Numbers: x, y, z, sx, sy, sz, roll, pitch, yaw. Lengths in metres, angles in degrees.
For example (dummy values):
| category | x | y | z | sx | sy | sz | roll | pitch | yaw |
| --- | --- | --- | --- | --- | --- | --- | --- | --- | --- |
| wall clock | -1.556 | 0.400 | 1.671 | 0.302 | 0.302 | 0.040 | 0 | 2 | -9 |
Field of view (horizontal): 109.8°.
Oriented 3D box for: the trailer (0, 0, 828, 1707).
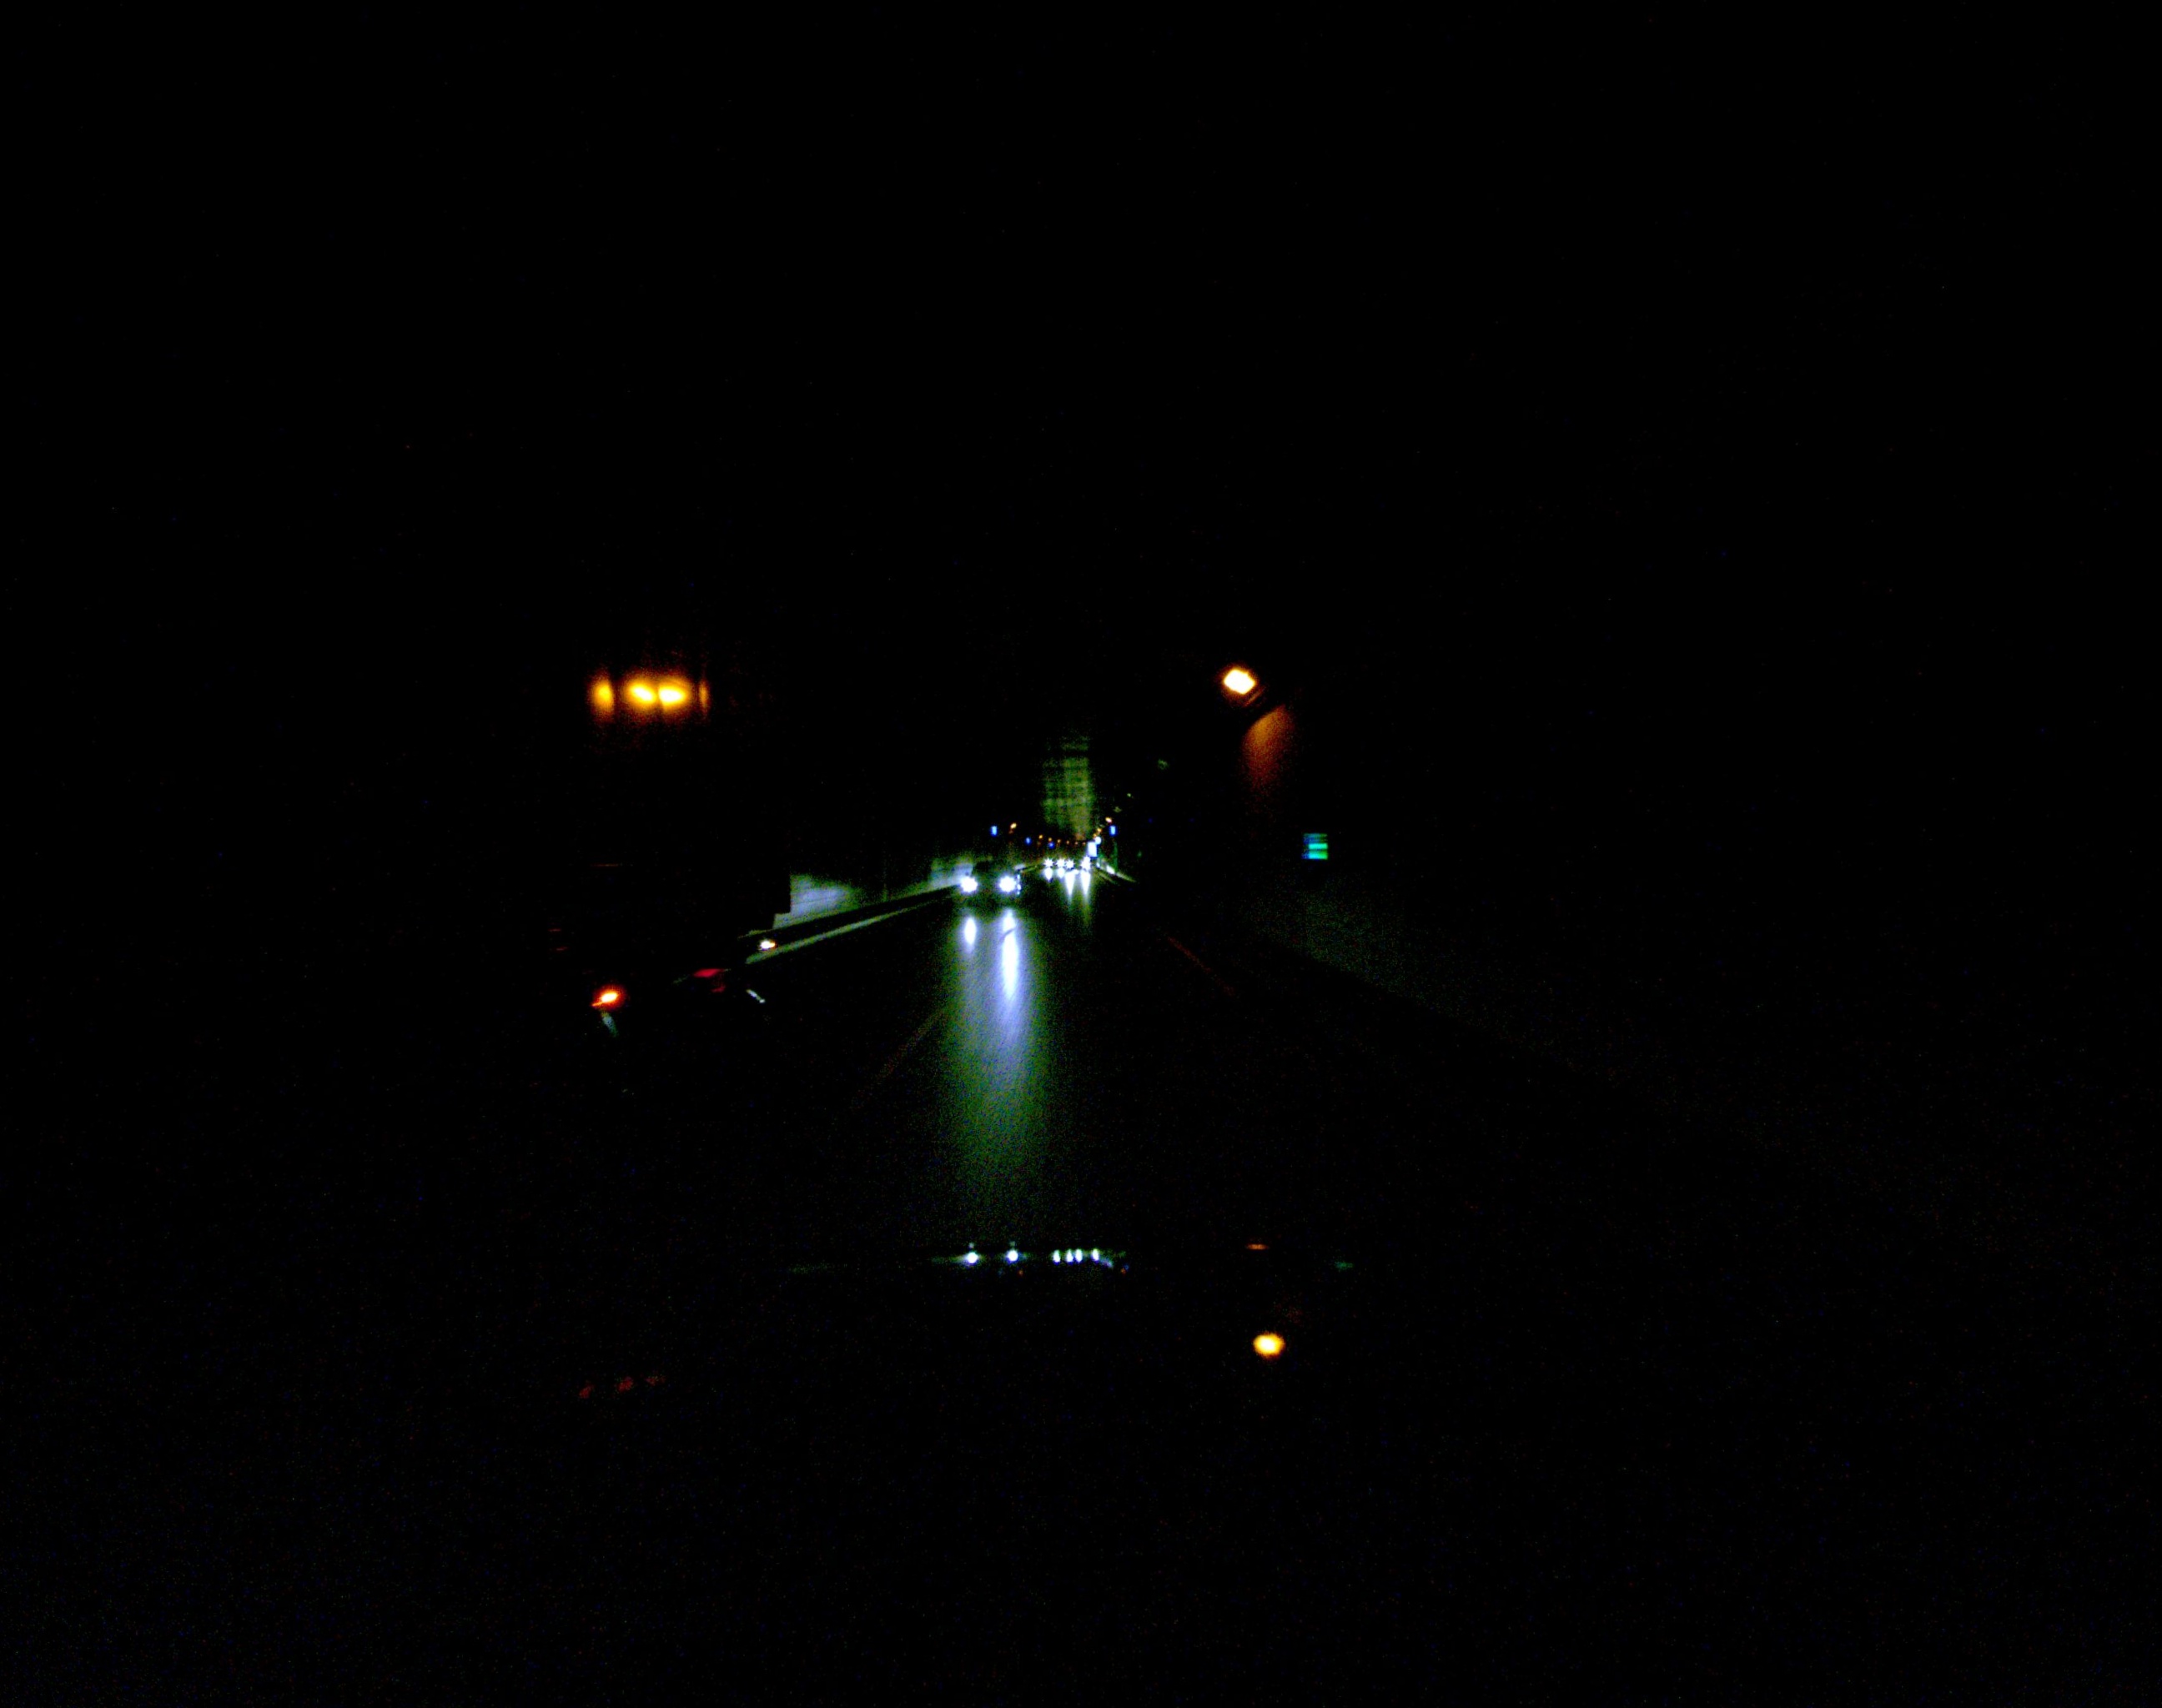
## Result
| category | x | y | z | sx | sy | sz | roll | pitch | yaw |
| --- | --- | --- | --- | --- | --- | --- | --- | --- | --- |
| trailer | -3.283 | -0.310 | 0.964 | 2.882 | 3.836 | 8.947 | 0 | 0 | 0 |

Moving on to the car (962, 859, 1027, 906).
| category | x | y | z | sx | sy | sz | roll | pitch | yaw |
| --- | --- | --- | --- | --- | --- | --- | --- | --- | --- |
| car | -2.907 | 0.927 | 26.290 | 1.735 | 1.395 | 3.798 | -2 | 1 | 1 |

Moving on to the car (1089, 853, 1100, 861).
| category | x | y | z | sx | sy | sz | roll | pitch | yaw |
| --- | --- | --- | --- | --- | --- | --- | --- | --- | --- |
| car | 2.707 | 0.638 | 152.365 | 1.811 | 1.576 | 4.001 | -1 | 0 | 4 |

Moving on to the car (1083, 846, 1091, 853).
| category | x | y | z | sx | sy | sz | roll | pitch | yaw |
| --- | --- | --- | --- | --- | --- | --- | --- | --- | --- |
| car | 1.569 | -1.171 | 190.508 | 1.999 | 1.674 | 3.999 | 0 | 1 | 0 |

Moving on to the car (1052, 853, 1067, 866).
| category | x | y | z | sx | sy | sz | roll | pitch | yaw |
| --- | --- | --- | --- | --- | --- | --- | --- | --- | --- |
| car | -2.709 | 0.649 | 96.501 | 1.735 | 1.565 | 4.000 | -1 | 0 | 0 |

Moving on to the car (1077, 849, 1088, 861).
| category | x | y | z | sx | sy | sz | roll | pitch | yaw |
| --- | --- | --- | --- | --- | --- | --- | --- | --- | --- |
| car | 0.252 | 0.130 | 116.547 | 1.715 | 1.729 | 3.998 | 0 | 2 | 0 |

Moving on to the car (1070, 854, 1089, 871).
| category | x | y | z | sx | sy | sz | roll | pitch | yaw |
| --- | --- | --- | --- | --- | --- | --- | --- | --- | --- |
| car | -0.111 | 0.807 | 75.812 | 1.820 | 1.589 | 4.000 | 1 | 0 | 1 |
